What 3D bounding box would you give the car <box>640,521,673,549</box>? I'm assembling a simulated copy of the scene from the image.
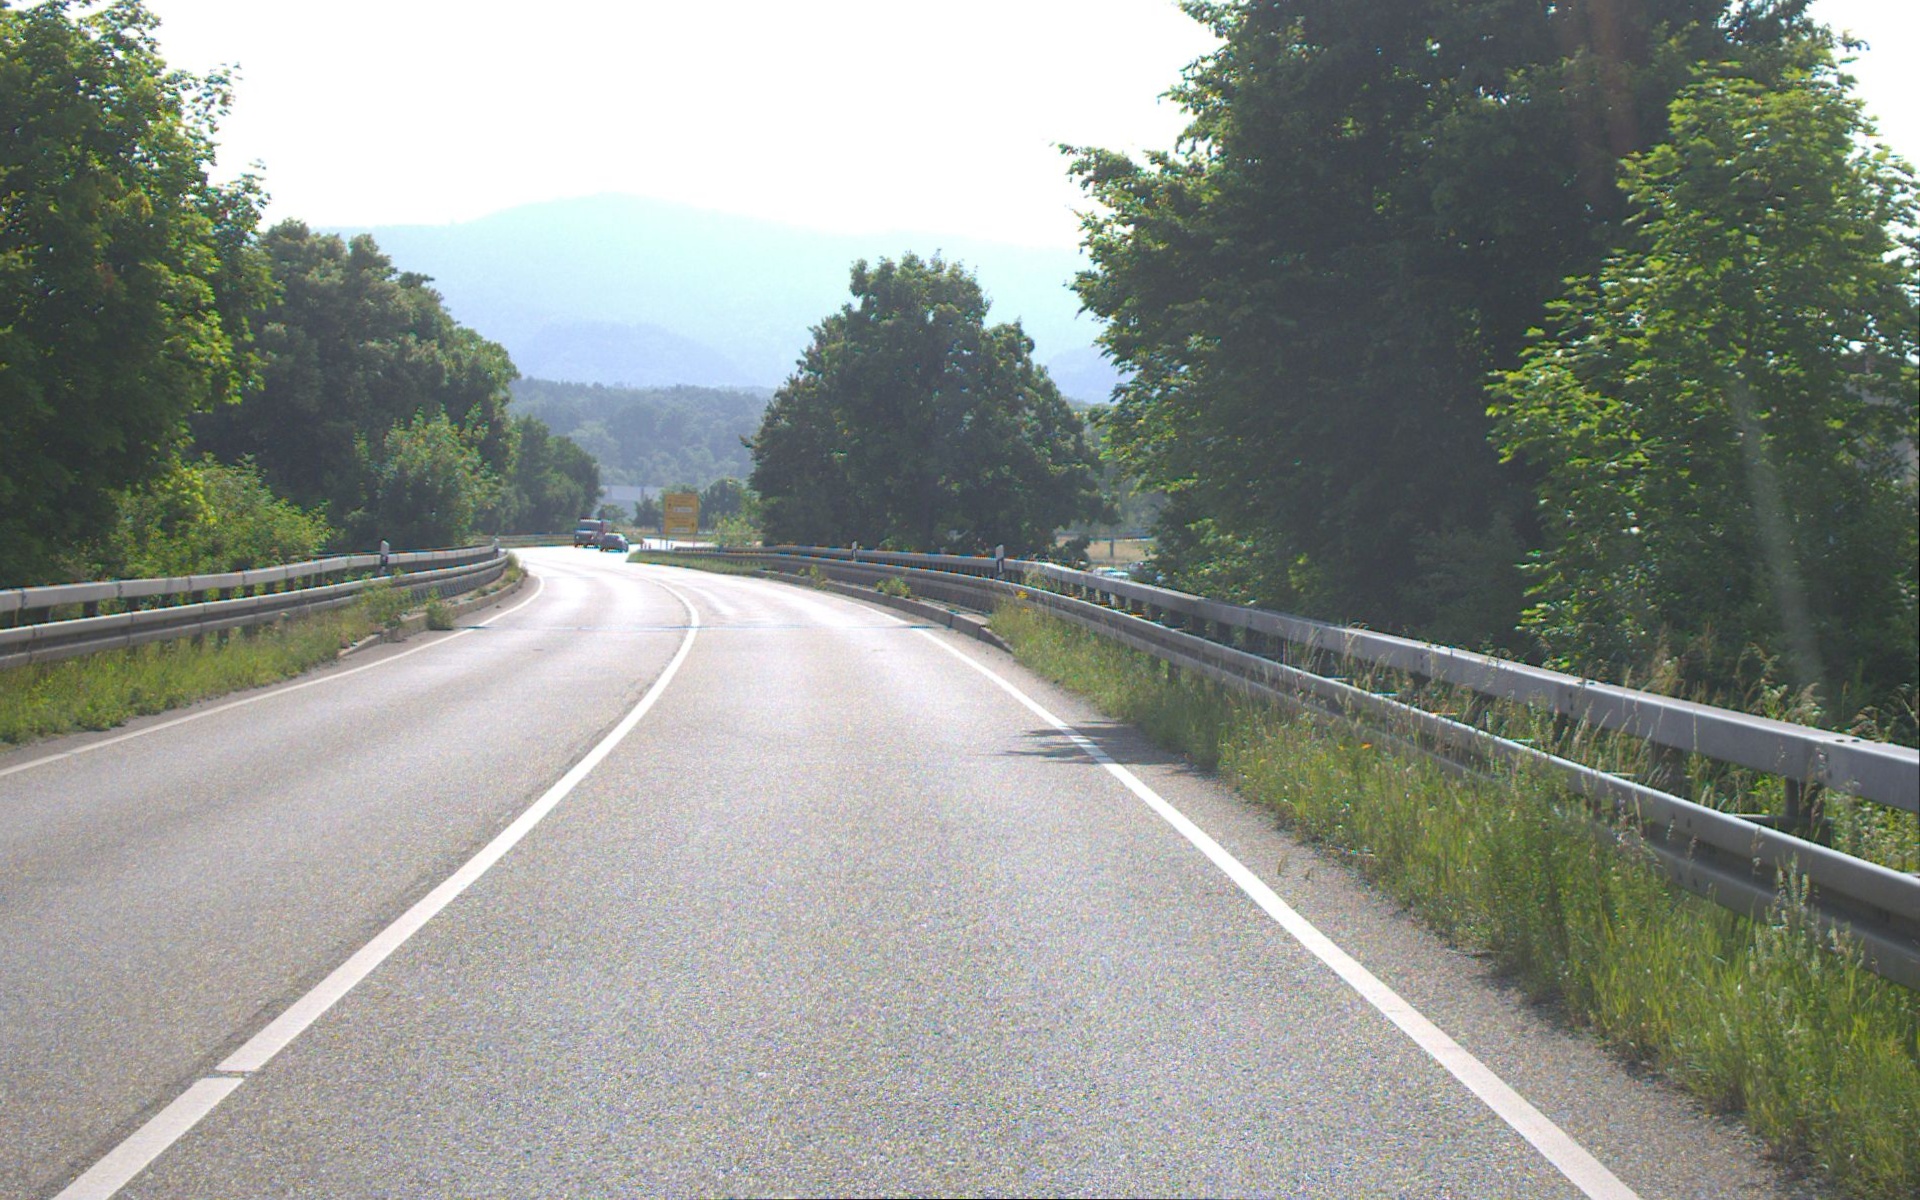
[{"bbox_3d":[-22.288,-4.758,252.719,1.993,2.007,4.000,1,0,1],"label":"car"}]
